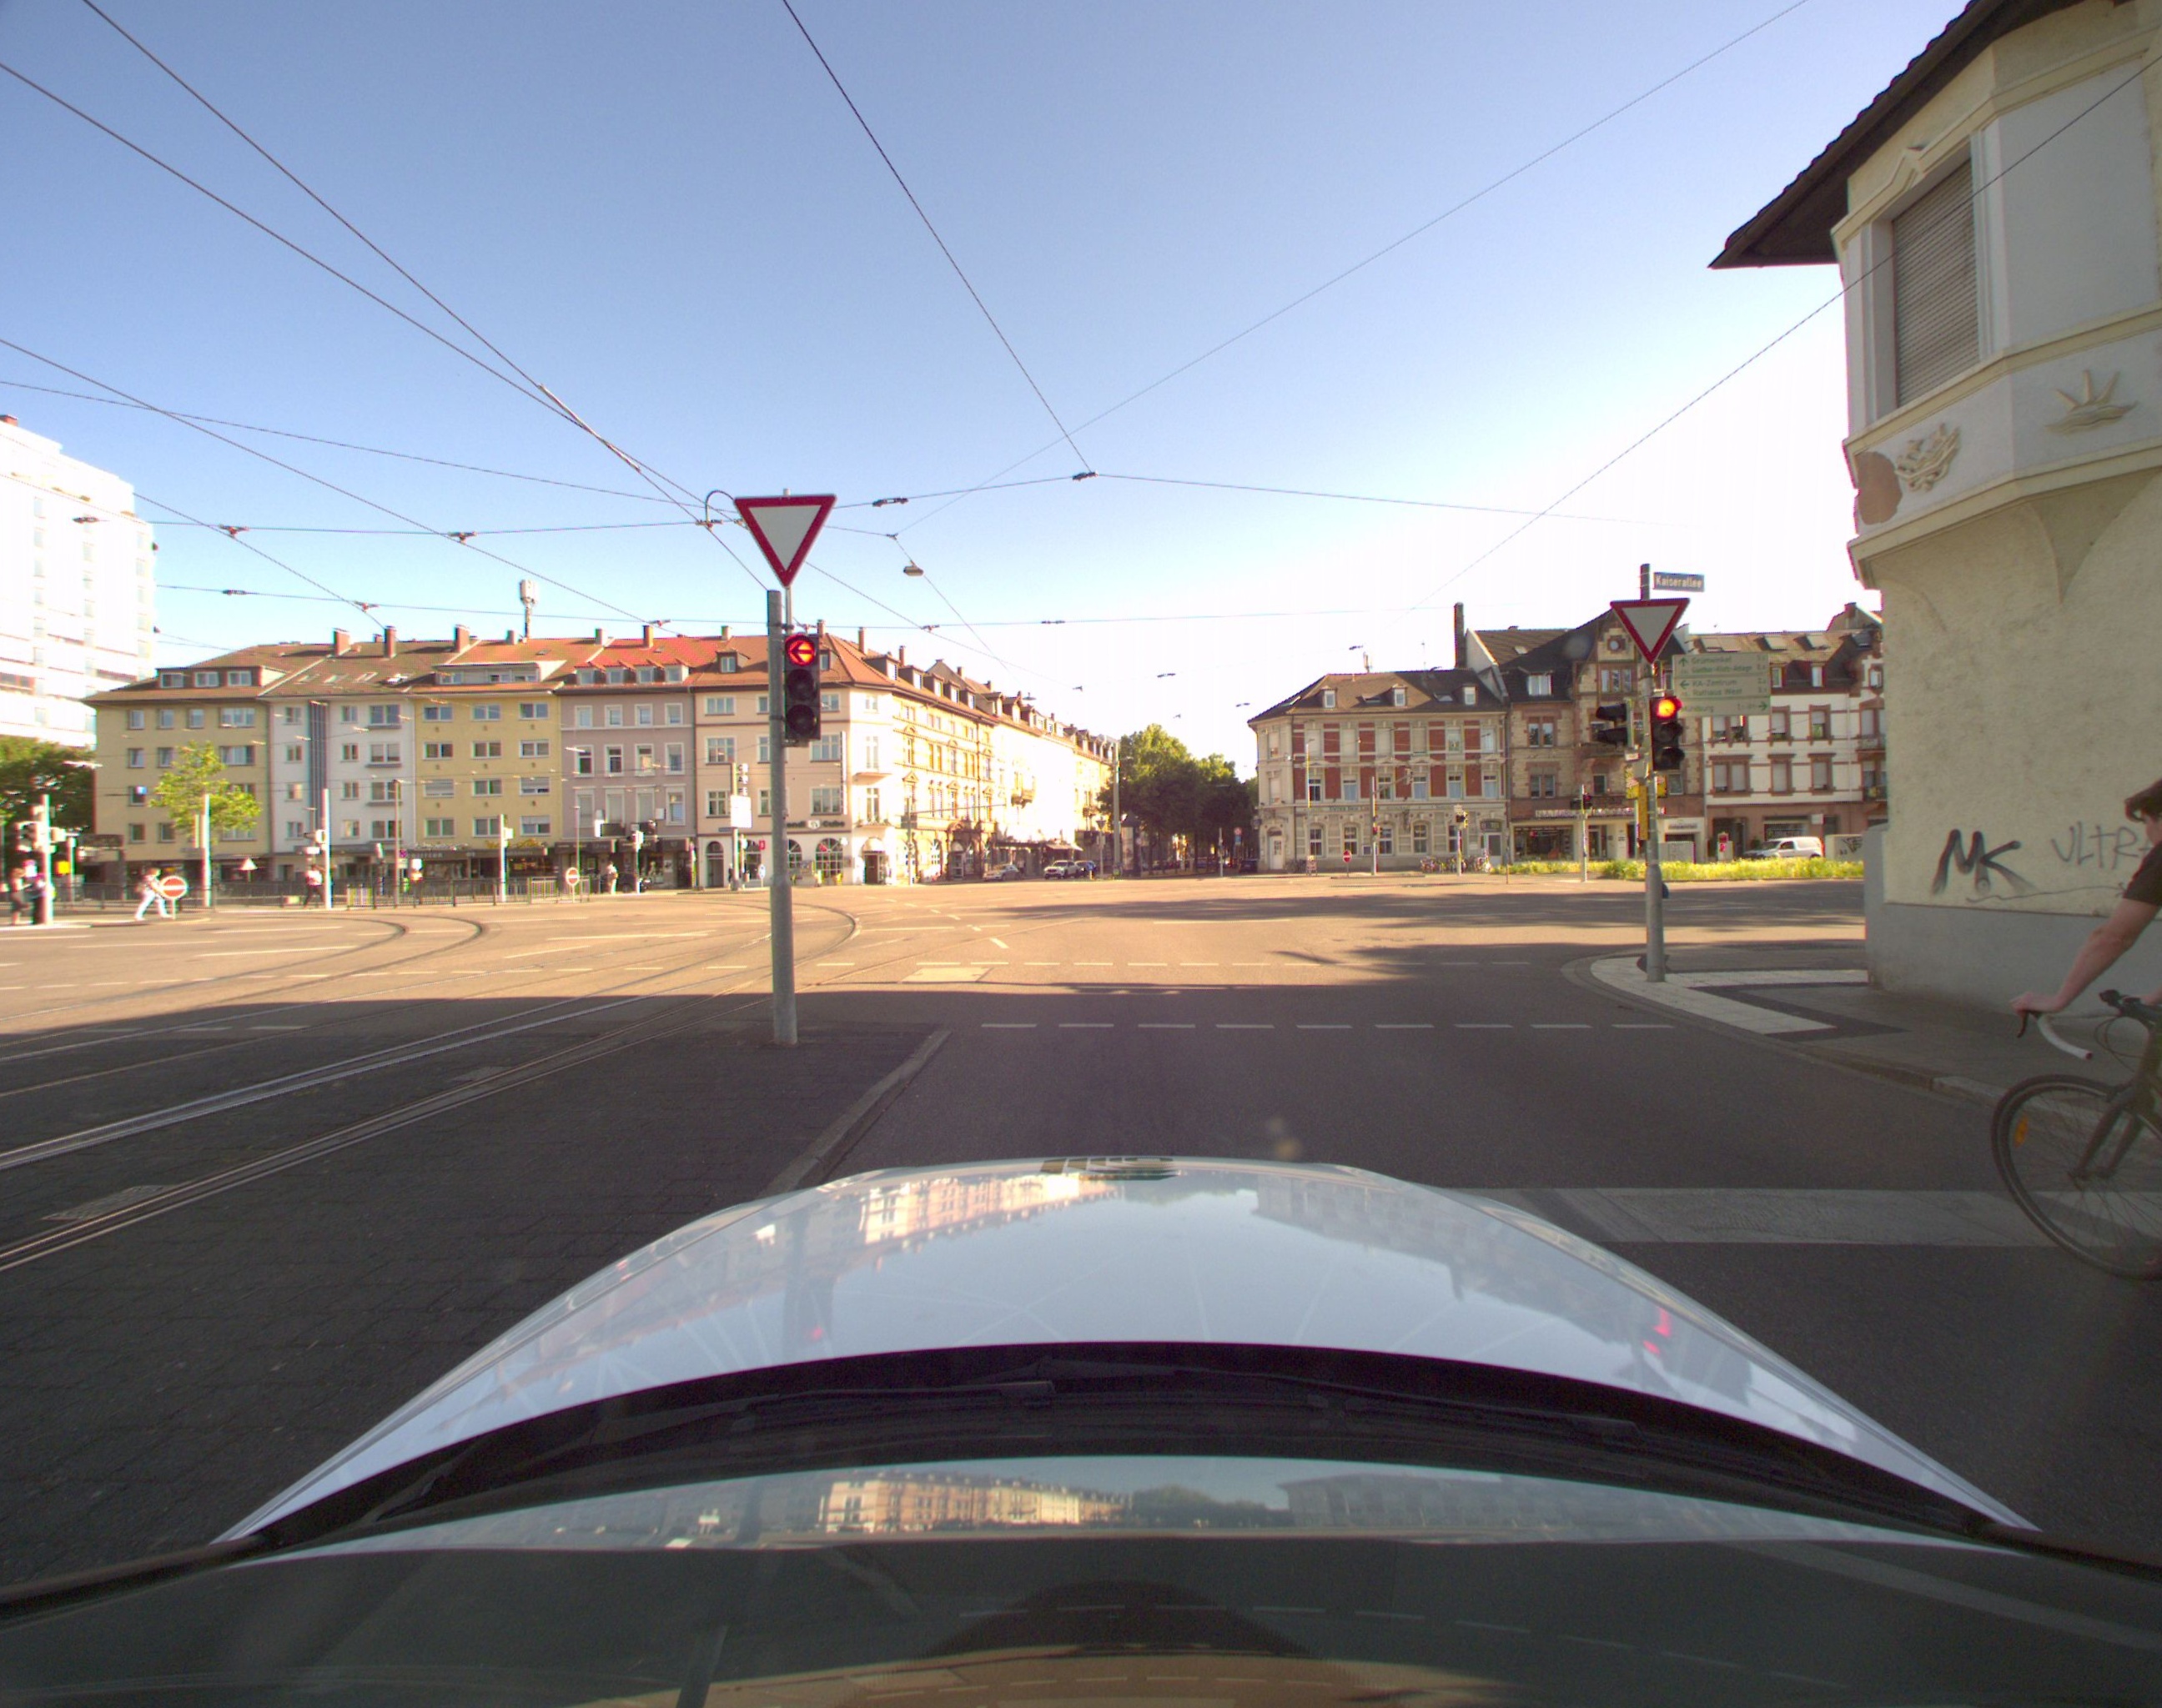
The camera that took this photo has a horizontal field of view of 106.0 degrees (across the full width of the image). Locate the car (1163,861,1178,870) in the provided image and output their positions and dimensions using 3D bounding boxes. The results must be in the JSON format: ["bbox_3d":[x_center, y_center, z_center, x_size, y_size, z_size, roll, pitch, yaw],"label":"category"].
[{"bbox_3d":[14.454,1.825,131.444,1.728,1.397,4.141,1,0,16],"label":"car"}]

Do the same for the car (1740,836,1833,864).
[{"bbox_3d":[45.390,-0.225,52.456,4.356,1.654,1.999,-1,0,-2],"label":"car"}]

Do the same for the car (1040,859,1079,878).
[{"bbox_3d":[-1.724,1.169,67.358,2.080,1.499,4.017,-1,0,16],"label":"car"}]

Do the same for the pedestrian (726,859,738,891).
[{"bbox_3d":[-22.773,1.362,53.113,0.506,2.013,0.505,-1,0,5],"label":"pedestrian"}]

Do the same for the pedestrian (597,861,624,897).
[{"bbox_3d":[-24.566,1.314,42.547,0.871,1.818,0.811,-1,0,2],"label":"pedestrian"}]

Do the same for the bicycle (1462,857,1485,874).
[{"bbox_3d":[25.320,0.723,52.605,0.603,1.051,1.641,-1,0,-3],"label":"bicycle"}]

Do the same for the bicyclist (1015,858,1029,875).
[{"bbox_3d":[-4.760,0.993,65.860,0.787,1.375,1.113,-1,0,16],"label":"bicyclist"}]

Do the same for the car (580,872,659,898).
[{"bbox_3d":[-30.269,1.996,53.524,3.978,1.464,1.998,-2,0,-4],"label":"car"}]

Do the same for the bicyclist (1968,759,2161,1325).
[{"bbox_3d":[3.579,0.575,2.484,0.557,1.730,1.084,0,-1,2],"label":"bicyclist"}]

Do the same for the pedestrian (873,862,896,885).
[{"bbox_3d":[-13.889,1.360,57.567,1.029,1.591,1.075,-2,0,33],"label":"pedestrian"}]

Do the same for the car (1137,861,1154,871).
[{"bbox_3d":[9.188,1.698,115.760,1.729,1.397,4.137,1,0,12],"label":"car"}]

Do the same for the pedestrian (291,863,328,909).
[{"bbox_3d":[-29.324,1.206,30.960,0.773,1.698,0.701,-2,0,16],"label":"pedestrian"}]

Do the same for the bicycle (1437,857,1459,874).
[{"bbox_3d":[23.818,0.736,52.856,0.603,1.051,1.641,-1,0,-3],"label":"bicycle"}]

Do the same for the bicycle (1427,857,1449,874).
[{"bbox_3d":[23.154,0.741,52.856,0.603,1.051,1.641,-1,0,-3],"label":"bicycle"}]

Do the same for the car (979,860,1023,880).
[{"bbox_3d":[-6.591,1.310,67.688,2.080,1.545,4.382,-2,0,16],"label":"car"}]

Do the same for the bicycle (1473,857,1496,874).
[{"bbox_3d":[26.058,0.717,52.598,0.603,1.051,1.641,-1,0,-3],"label":"bicycle"}]

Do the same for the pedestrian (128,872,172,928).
[{"bbox_3d":[-29.080,1.419,25.437,0.549,1.698,0.750,-2,0,22],"label":"pedestrian"}]

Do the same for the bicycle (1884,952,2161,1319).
[{"bbox_3d":[3.582,0.919,2.496,0.530,1.016,1.759,-1,0,2],"label":"bicycle"}]

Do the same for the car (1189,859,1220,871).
[{"bbox_3d":[17.497,1.538,114.980,4.078,1.646,1.754,1,0,17],"label":"car"}]

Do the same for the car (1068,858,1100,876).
[{"bbox_3d":[0.298,1.158,73.681,1.979,1.513,4.015,-1,0,14],"label":"car"}]

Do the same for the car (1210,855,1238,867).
[{"bbox_3d":[23.385,1.101,133.058,4.074,1.919,1.756,1,0,23],"label":"car"}]

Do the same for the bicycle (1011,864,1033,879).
[{"bbox_3d":[-4.762,1.436,65.888,0.745,1.135,2.821,-1,0,16],"label":"bicycle"}]

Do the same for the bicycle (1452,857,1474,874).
[{"bbox_3d":[24.645,0.727,52.555,0.603,1.051,1.641,-1,0,-3],"label":"bicycle"}]

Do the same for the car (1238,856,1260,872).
[{"bbox_3d":[16.913,1.000,82.038,1.637,1.524,3.772,-2,-1,20],"label":"car"}]

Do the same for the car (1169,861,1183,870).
[{"bbox_3d":[15.878,1.849,136.191,1.728,1.397,4.141,1,0,16],"label":"car"}]

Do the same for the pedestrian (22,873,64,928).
[{"bbox_3d":[-31.892,1.425,25.028,0.789,1.625,0.716,-2,-1,43],"label":"pedestrian"}]

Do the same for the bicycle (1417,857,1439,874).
[{"bbox_3d":[22.501,0.745,52.826,0.603,1.051,1.641,-1,0,-3],"label":"bicycle"}]

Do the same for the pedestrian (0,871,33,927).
[{"bbox_3d":[-33.063,1.373,25.266,0.498,1.698,0.552,-1,0,-33],"label":"pedestrian"}]

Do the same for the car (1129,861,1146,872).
[{"bbox_3d":[7.613,1.662,109.990,1.729,1.397,4.137,1,0,12],"label":"car"}]

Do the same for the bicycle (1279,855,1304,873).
[{"bbox_3d":[14.701,0.696,56.926,1.625,1.222,0.609,-1,0,18],"label":"bicycle"}]

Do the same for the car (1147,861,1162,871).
[{"bbox_3d":[11.076,1.741,122.696,1.729,1.397,4.137,1,0,12],"label":"car"}]
